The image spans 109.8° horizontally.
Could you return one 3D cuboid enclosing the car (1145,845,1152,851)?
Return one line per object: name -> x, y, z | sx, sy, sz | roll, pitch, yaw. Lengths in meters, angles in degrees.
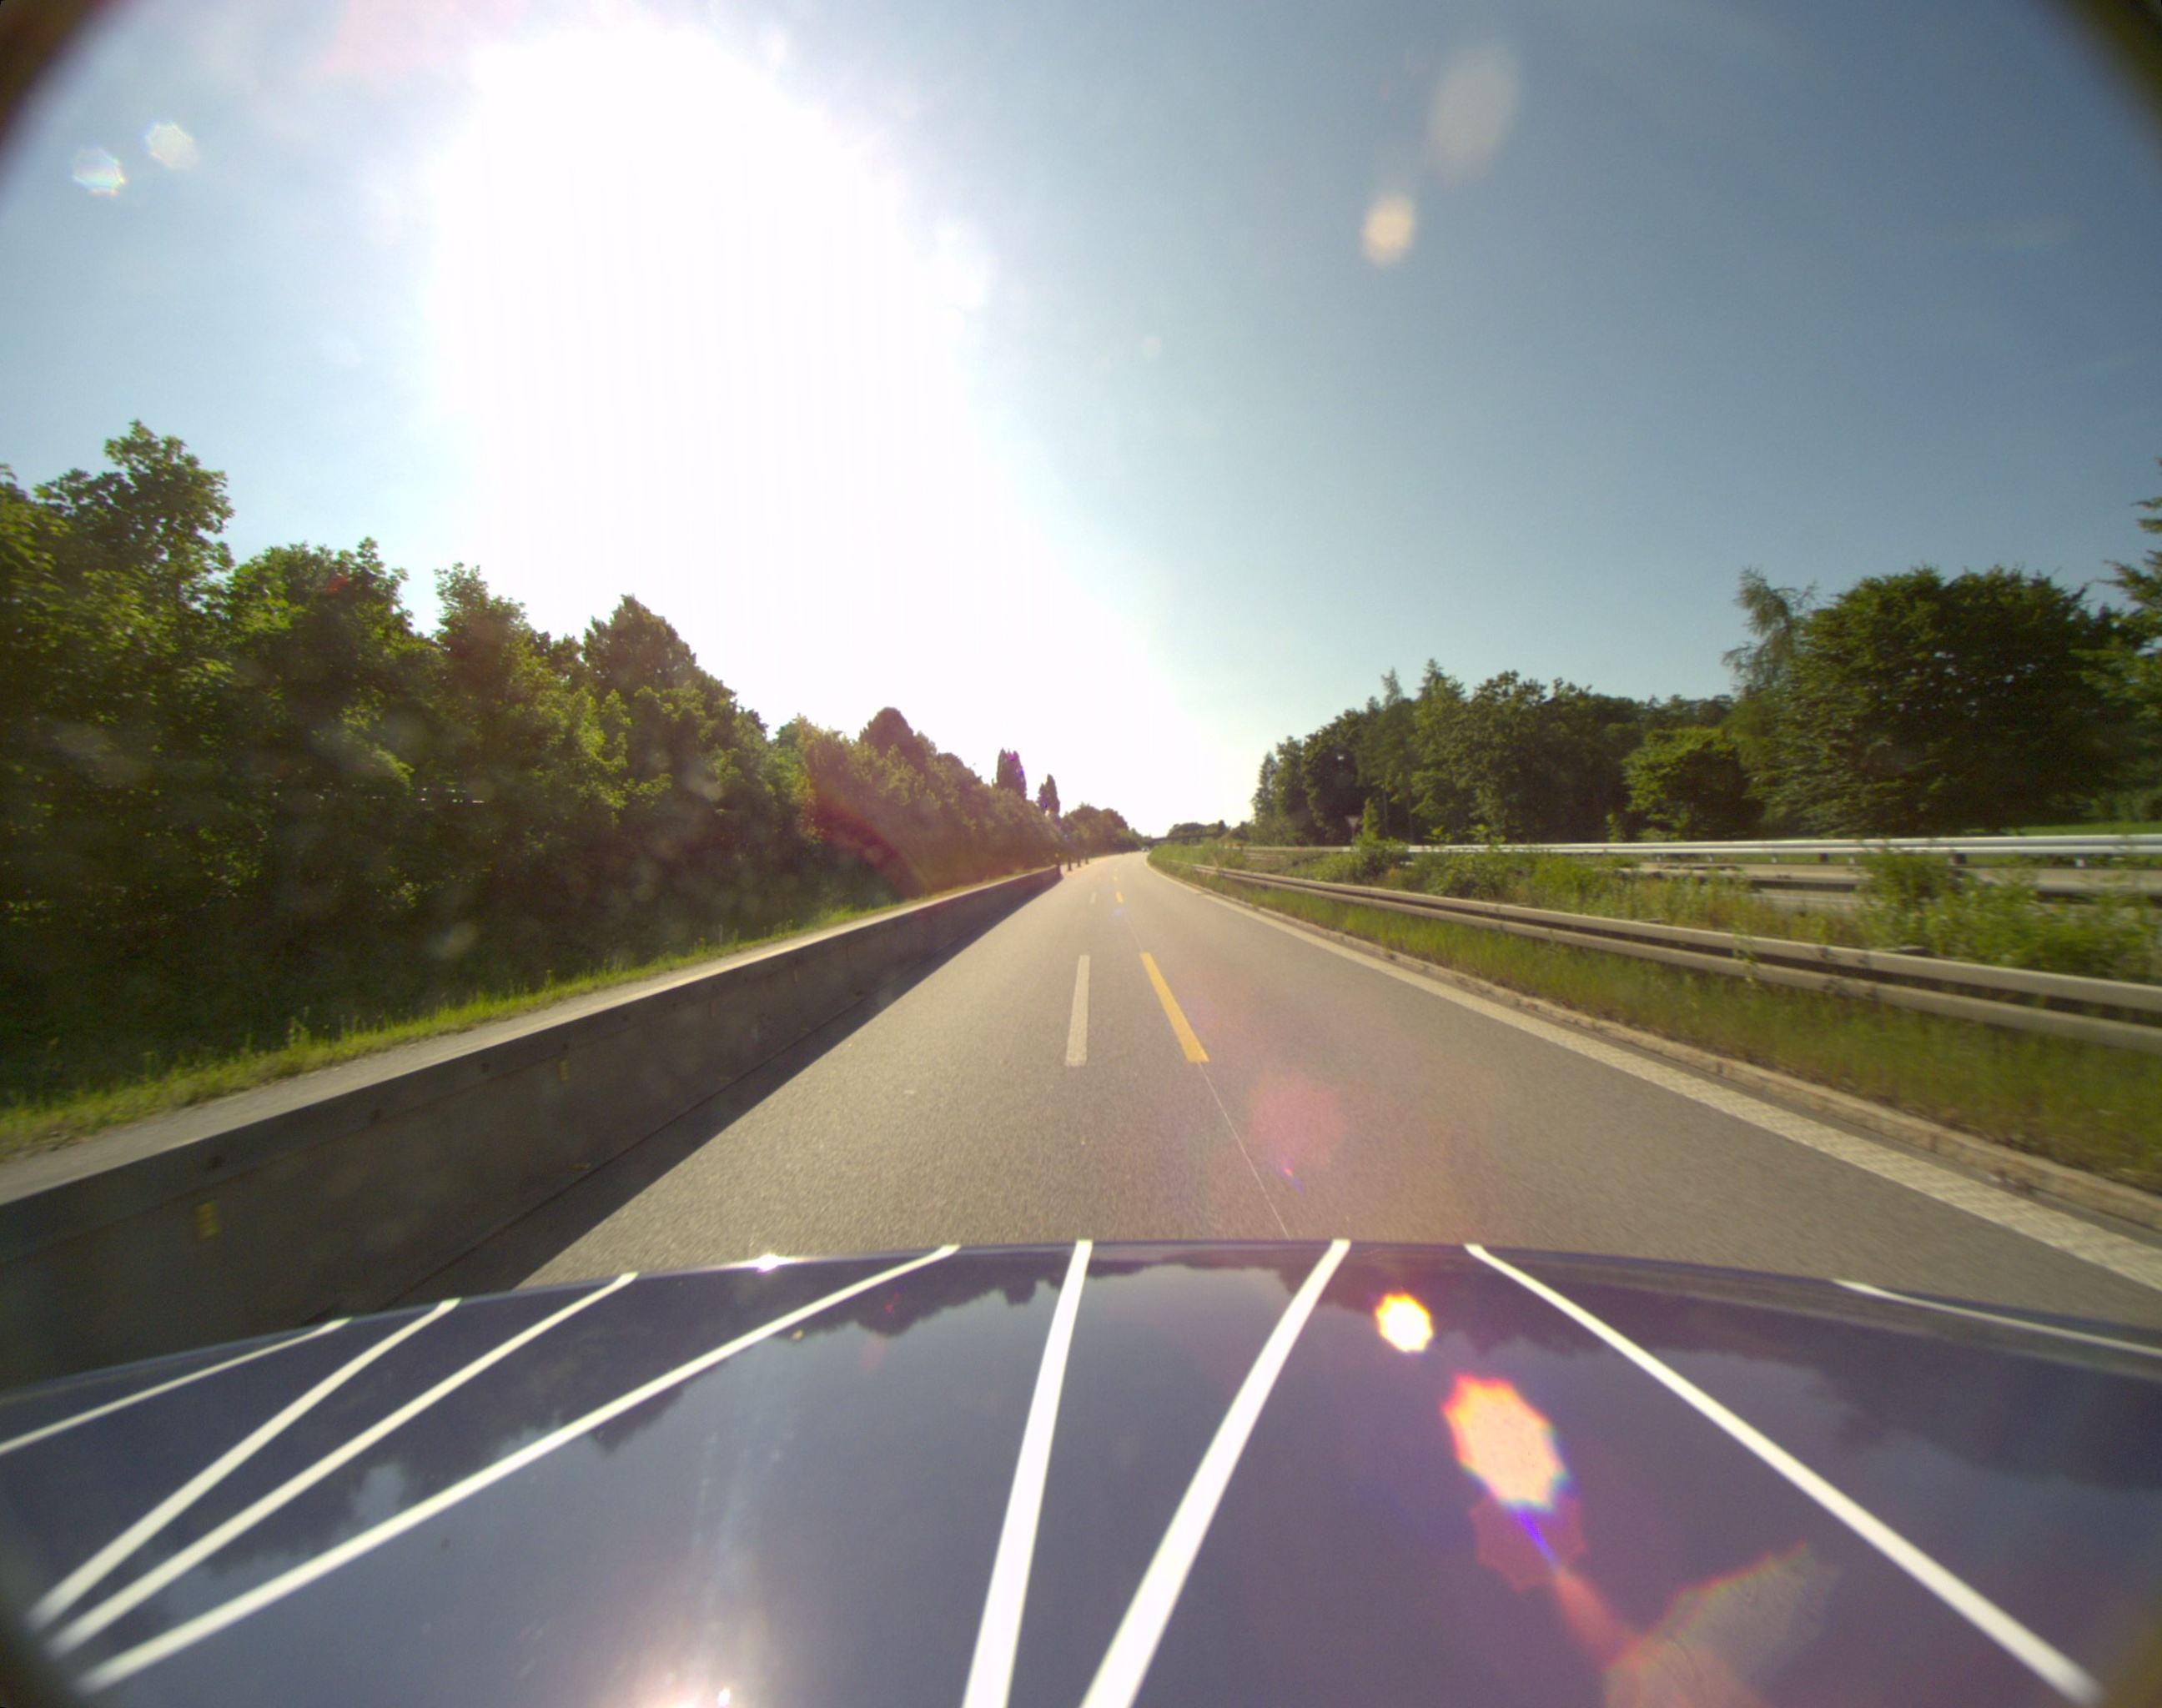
car -> 19.142, -1.810, 215.463 | 1.719, 1.499, 4.225 | -3, 1, 11
